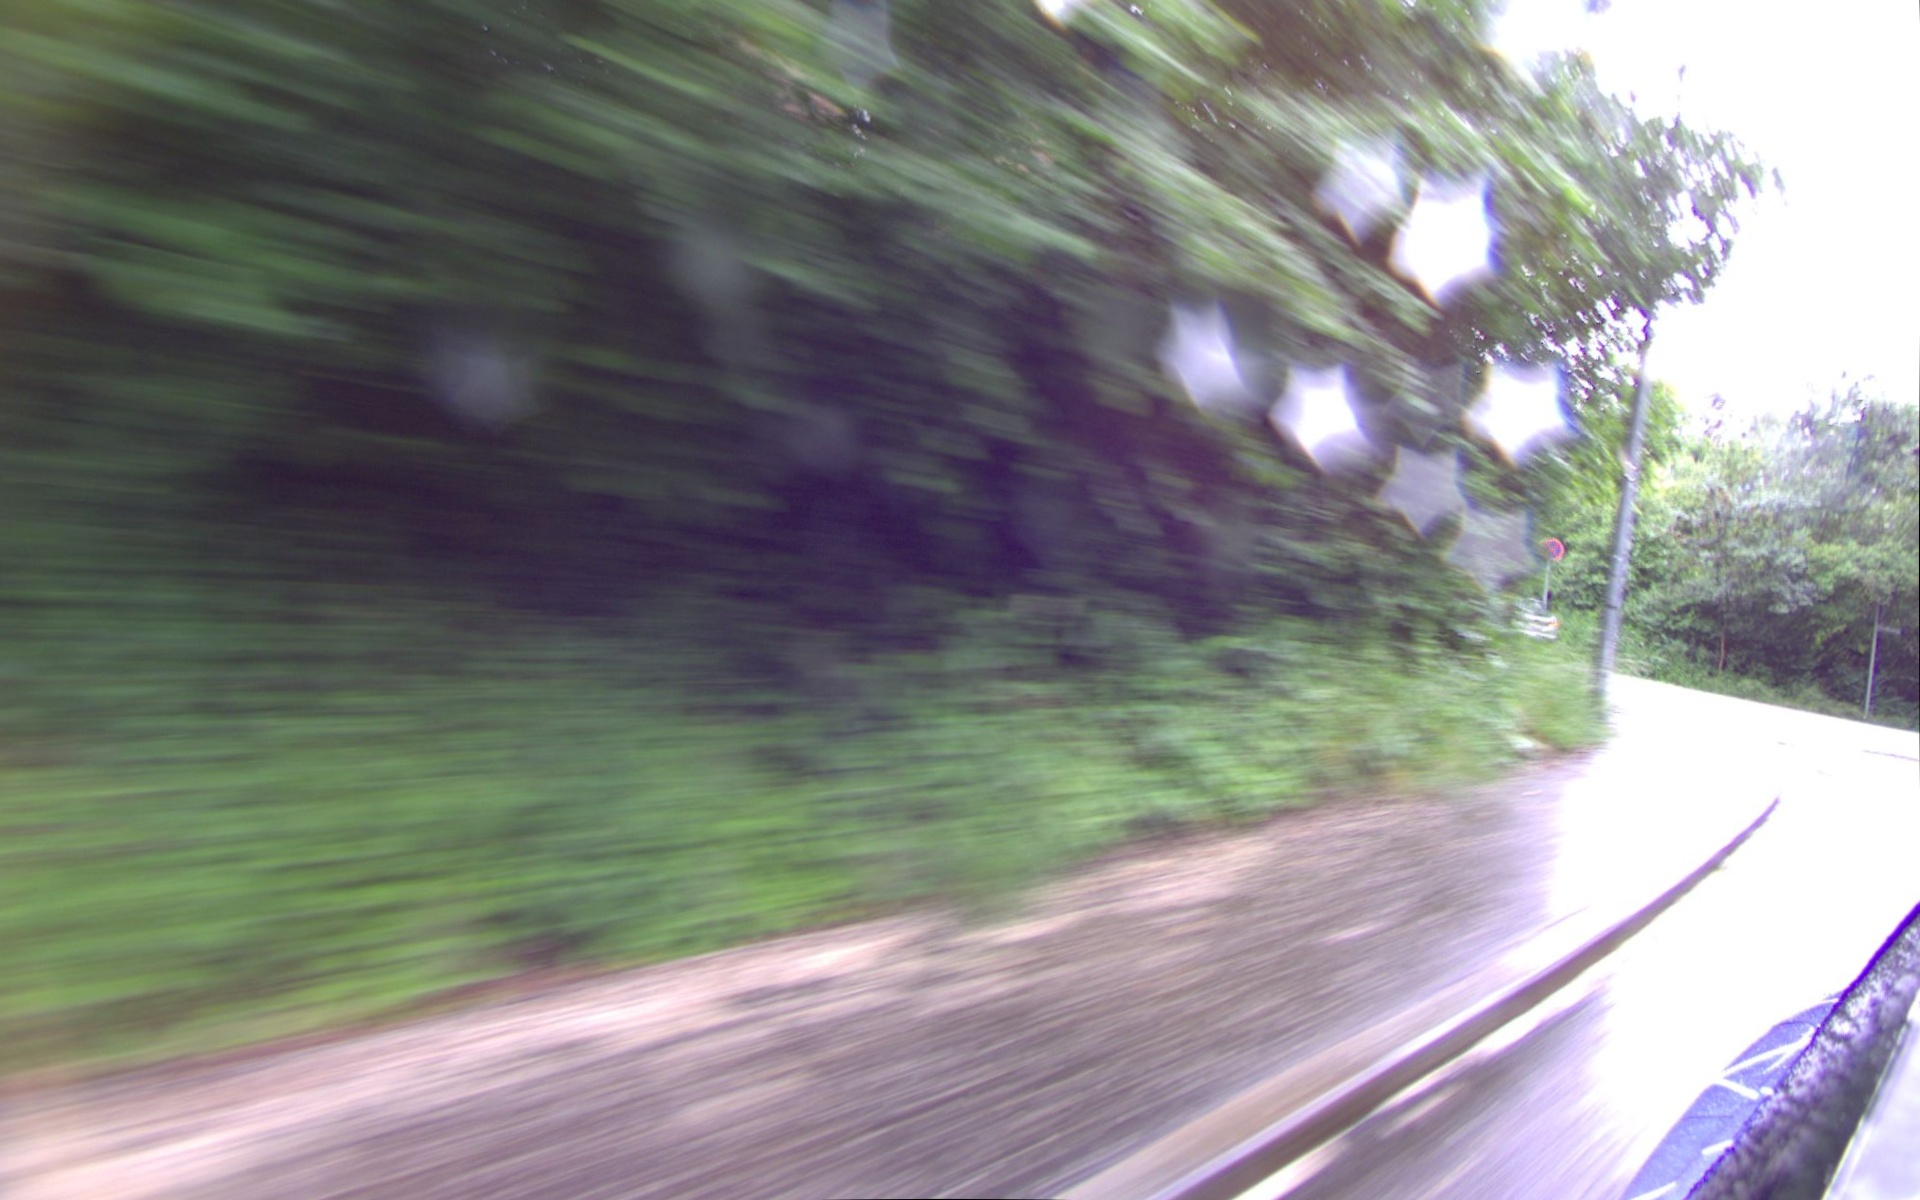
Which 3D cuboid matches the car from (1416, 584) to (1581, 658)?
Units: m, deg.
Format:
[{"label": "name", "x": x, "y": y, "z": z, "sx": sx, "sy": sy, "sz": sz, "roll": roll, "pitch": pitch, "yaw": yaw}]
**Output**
[{"label": "car", "x": 13.867, "y": 0.475, "z": 26.376, "sx": 1.644, "sy": 1.556, "sz": 4.127, "roll": 4, "pitch": 2, "yaw": -7}]
